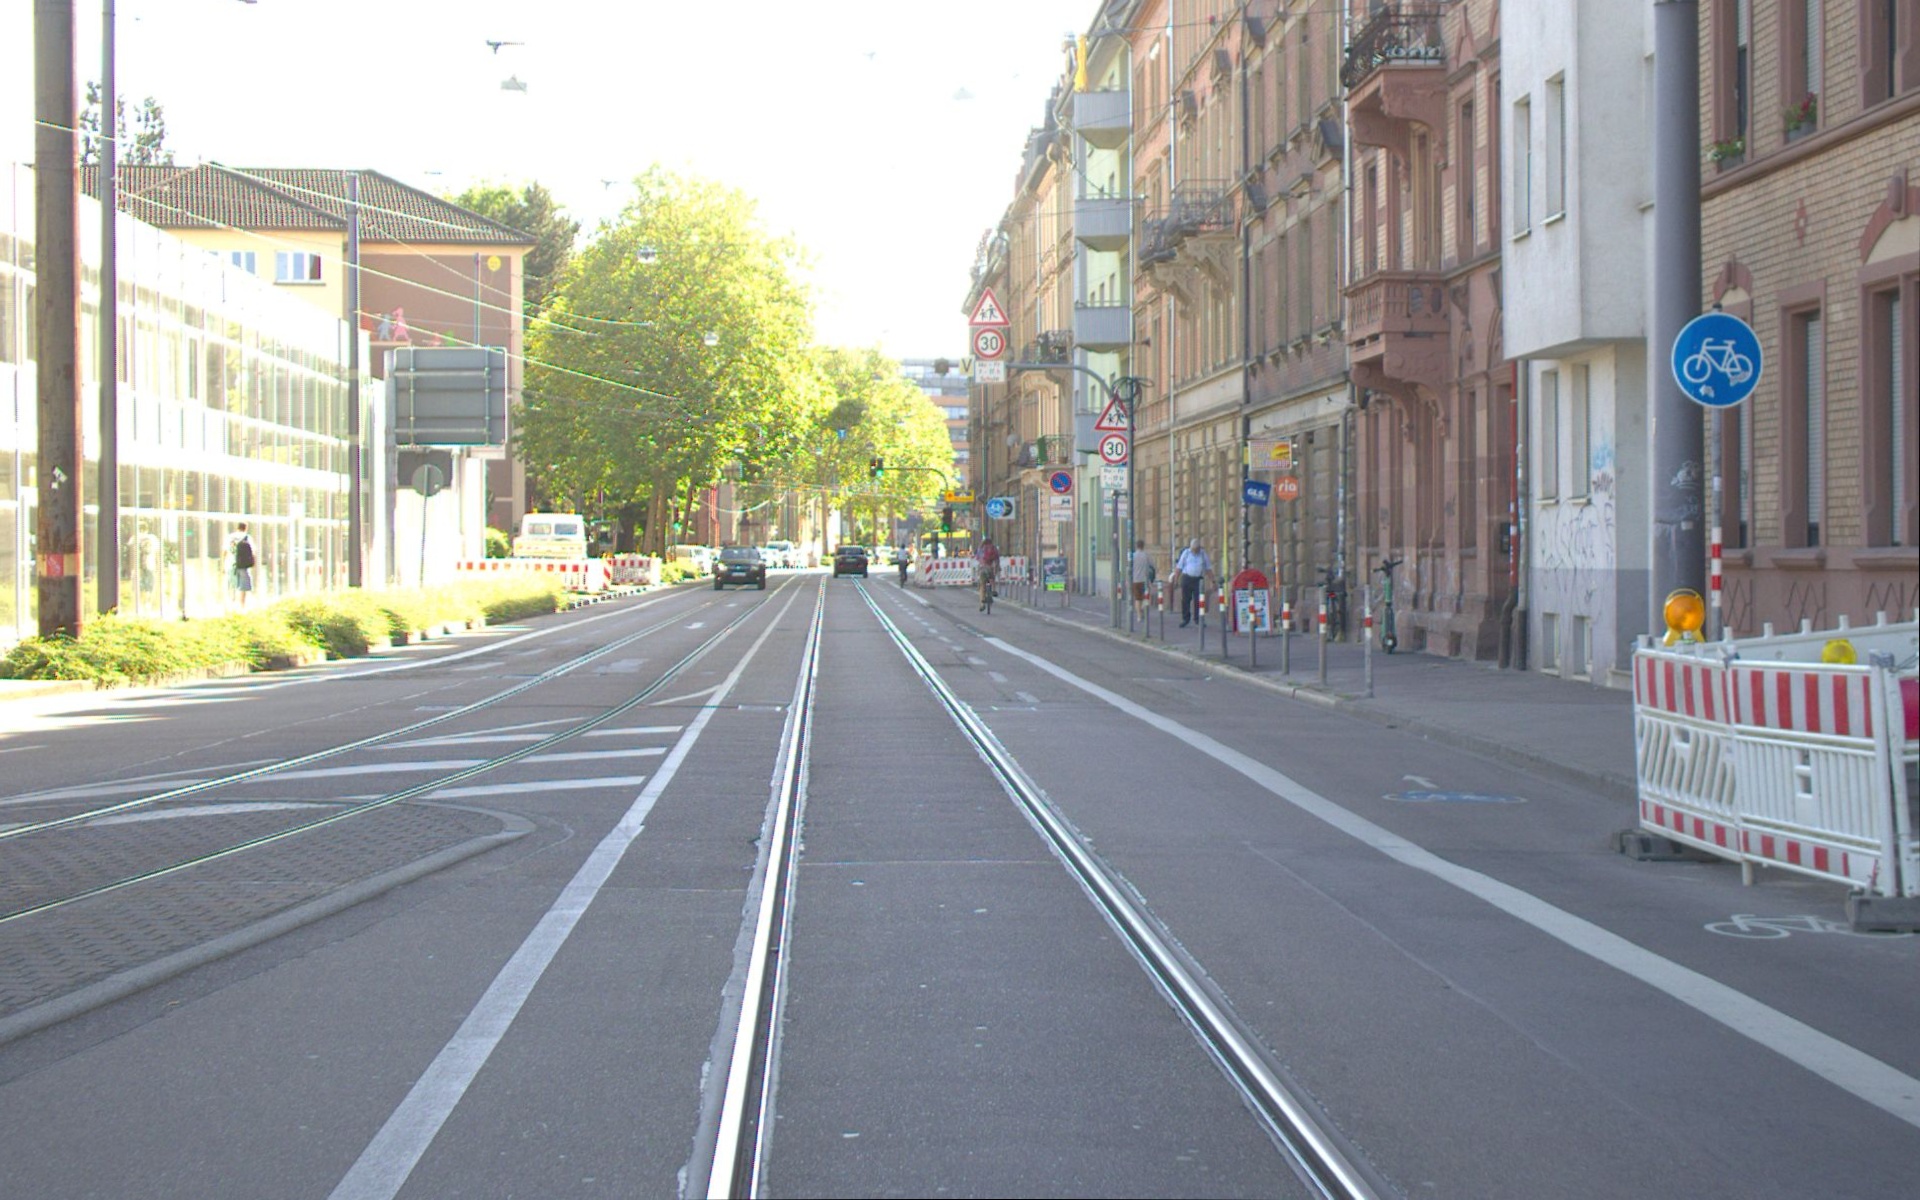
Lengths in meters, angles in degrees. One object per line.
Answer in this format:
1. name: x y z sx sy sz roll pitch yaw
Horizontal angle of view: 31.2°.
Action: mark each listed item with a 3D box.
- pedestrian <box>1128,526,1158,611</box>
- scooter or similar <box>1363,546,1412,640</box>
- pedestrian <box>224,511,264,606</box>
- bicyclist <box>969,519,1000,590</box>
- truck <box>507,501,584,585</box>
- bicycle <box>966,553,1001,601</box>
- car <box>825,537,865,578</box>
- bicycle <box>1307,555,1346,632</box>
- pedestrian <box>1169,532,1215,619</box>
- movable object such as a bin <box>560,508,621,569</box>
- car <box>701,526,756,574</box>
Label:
1. pedestrian: 3.724 -0.638 70.004 0.553 1.695 0.474 -2 0 4
2. scooter or similar: 5.667 -0.096 45.607 0.406 1.207 1.480 -2 0 -2
3. pedestrian: -13.387 -0.774 64.257 0.526 1.759 1.051 1 0 -2
4. bicyclist: 0.584 -1.086 82.434 0.667 1.691 1.043 1 0 -2
5. truck: -14.664 -1.992 121.891 2.537 2.820 6.377 1 0 -6
6. bicycle: 0.555 -0.570 82.917 0.681 1.110 2.707 1 1 -2
7. car: -5.954 -2.198 178.444 1.993 2.007 4.000 1 0 -2
8. bicycle: 5.510 -0.099 51.712 0.410 1.117 1.898 -2 0 2
9. pedestrian: 4.307 -0.458 63.893 0.798 1.599 0.652 0 0 0
10. movable object such as a bin: -16.424 -2.735 152.961 2.495 2.636 5.990 1 1 -5
11. car: -8.424 -1.810 125.220 1.759 1.691 4.144 1 0 -1
